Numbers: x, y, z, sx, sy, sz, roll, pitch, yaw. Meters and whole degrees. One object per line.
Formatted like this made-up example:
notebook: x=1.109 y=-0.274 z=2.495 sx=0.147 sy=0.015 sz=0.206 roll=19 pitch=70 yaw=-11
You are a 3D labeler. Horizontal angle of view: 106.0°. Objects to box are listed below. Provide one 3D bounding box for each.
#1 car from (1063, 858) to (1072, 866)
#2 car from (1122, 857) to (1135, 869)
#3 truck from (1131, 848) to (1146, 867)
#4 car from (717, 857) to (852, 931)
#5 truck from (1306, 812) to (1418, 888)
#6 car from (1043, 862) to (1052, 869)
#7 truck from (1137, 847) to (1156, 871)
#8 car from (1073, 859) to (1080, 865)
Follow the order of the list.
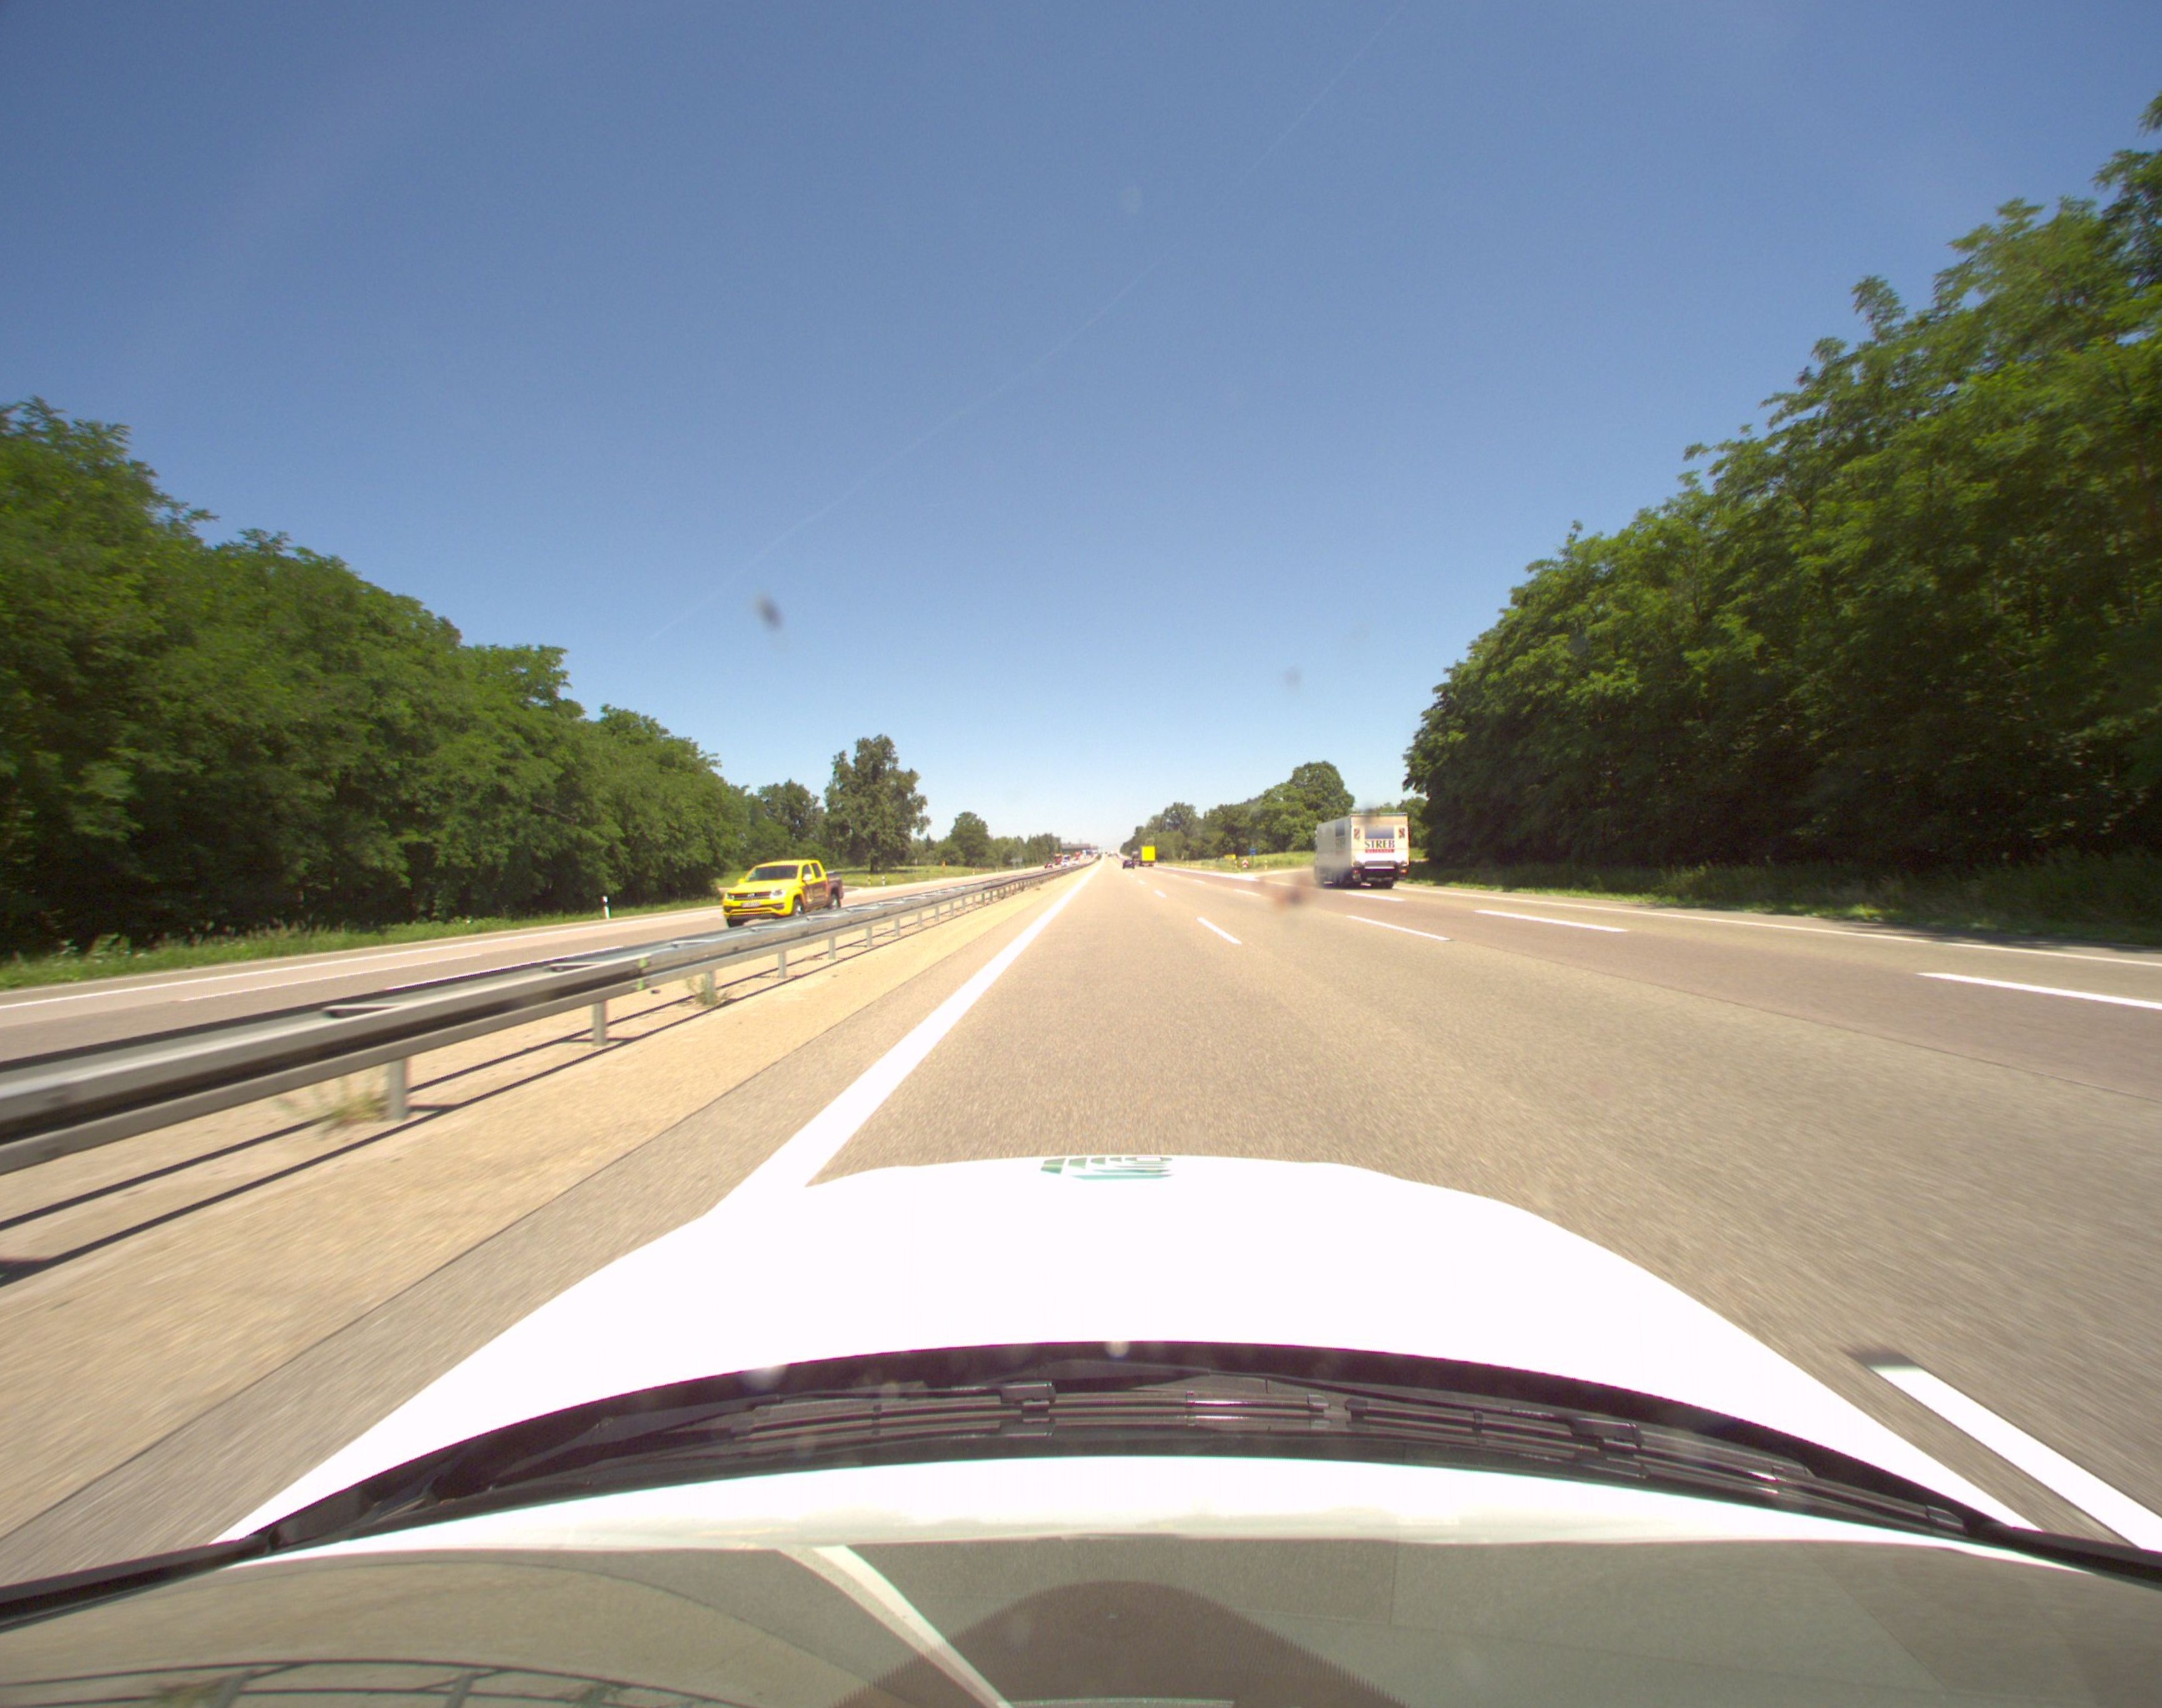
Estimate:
car: x=-3.071 y=1.855 z=183.364 sx=1.756 sy=1.692 sz=4.821 roll=-2 pitch=0 yaw=2
car: x=7.193 y=1.363 z=124.267 sx=1.820 sy=1.706 sz=4.001 roll=-1 pitch=0 yaw=1
truck: x=15.147 y=0.869 z=215.493 sx=3.353 sy=4.881 sz=15.095 roll=-1 pitch=0 yaw=3
car: x=-8.677 y=1.094 z=24.404 sx=1.986 sy=1.964 sz=5.213 roll=-1 pitch=0 yaw=2
truck: x=13.860 y=-0.158 z=41.248 sx=3.013 sy=3.319 sz=10.788 roll=-1 pitch=0 yaw=6
car: x=-7.849 y=2.703 z=191.482 sx=1.756 sy=1.495 sz=4.076 roll=-3 pitch=-1 yaw=2
truck: x=13.530 y=1.035 z=169.039 sx=3.363 sy=4.881 sz=15.095 roll=-1 pitch=0 yaw=3
car: x=-1.450 y=2.530 z=247.538 sx=1.804 sy=1.692 sz=5.127 roll=-2 pitch=0 yaw=2
